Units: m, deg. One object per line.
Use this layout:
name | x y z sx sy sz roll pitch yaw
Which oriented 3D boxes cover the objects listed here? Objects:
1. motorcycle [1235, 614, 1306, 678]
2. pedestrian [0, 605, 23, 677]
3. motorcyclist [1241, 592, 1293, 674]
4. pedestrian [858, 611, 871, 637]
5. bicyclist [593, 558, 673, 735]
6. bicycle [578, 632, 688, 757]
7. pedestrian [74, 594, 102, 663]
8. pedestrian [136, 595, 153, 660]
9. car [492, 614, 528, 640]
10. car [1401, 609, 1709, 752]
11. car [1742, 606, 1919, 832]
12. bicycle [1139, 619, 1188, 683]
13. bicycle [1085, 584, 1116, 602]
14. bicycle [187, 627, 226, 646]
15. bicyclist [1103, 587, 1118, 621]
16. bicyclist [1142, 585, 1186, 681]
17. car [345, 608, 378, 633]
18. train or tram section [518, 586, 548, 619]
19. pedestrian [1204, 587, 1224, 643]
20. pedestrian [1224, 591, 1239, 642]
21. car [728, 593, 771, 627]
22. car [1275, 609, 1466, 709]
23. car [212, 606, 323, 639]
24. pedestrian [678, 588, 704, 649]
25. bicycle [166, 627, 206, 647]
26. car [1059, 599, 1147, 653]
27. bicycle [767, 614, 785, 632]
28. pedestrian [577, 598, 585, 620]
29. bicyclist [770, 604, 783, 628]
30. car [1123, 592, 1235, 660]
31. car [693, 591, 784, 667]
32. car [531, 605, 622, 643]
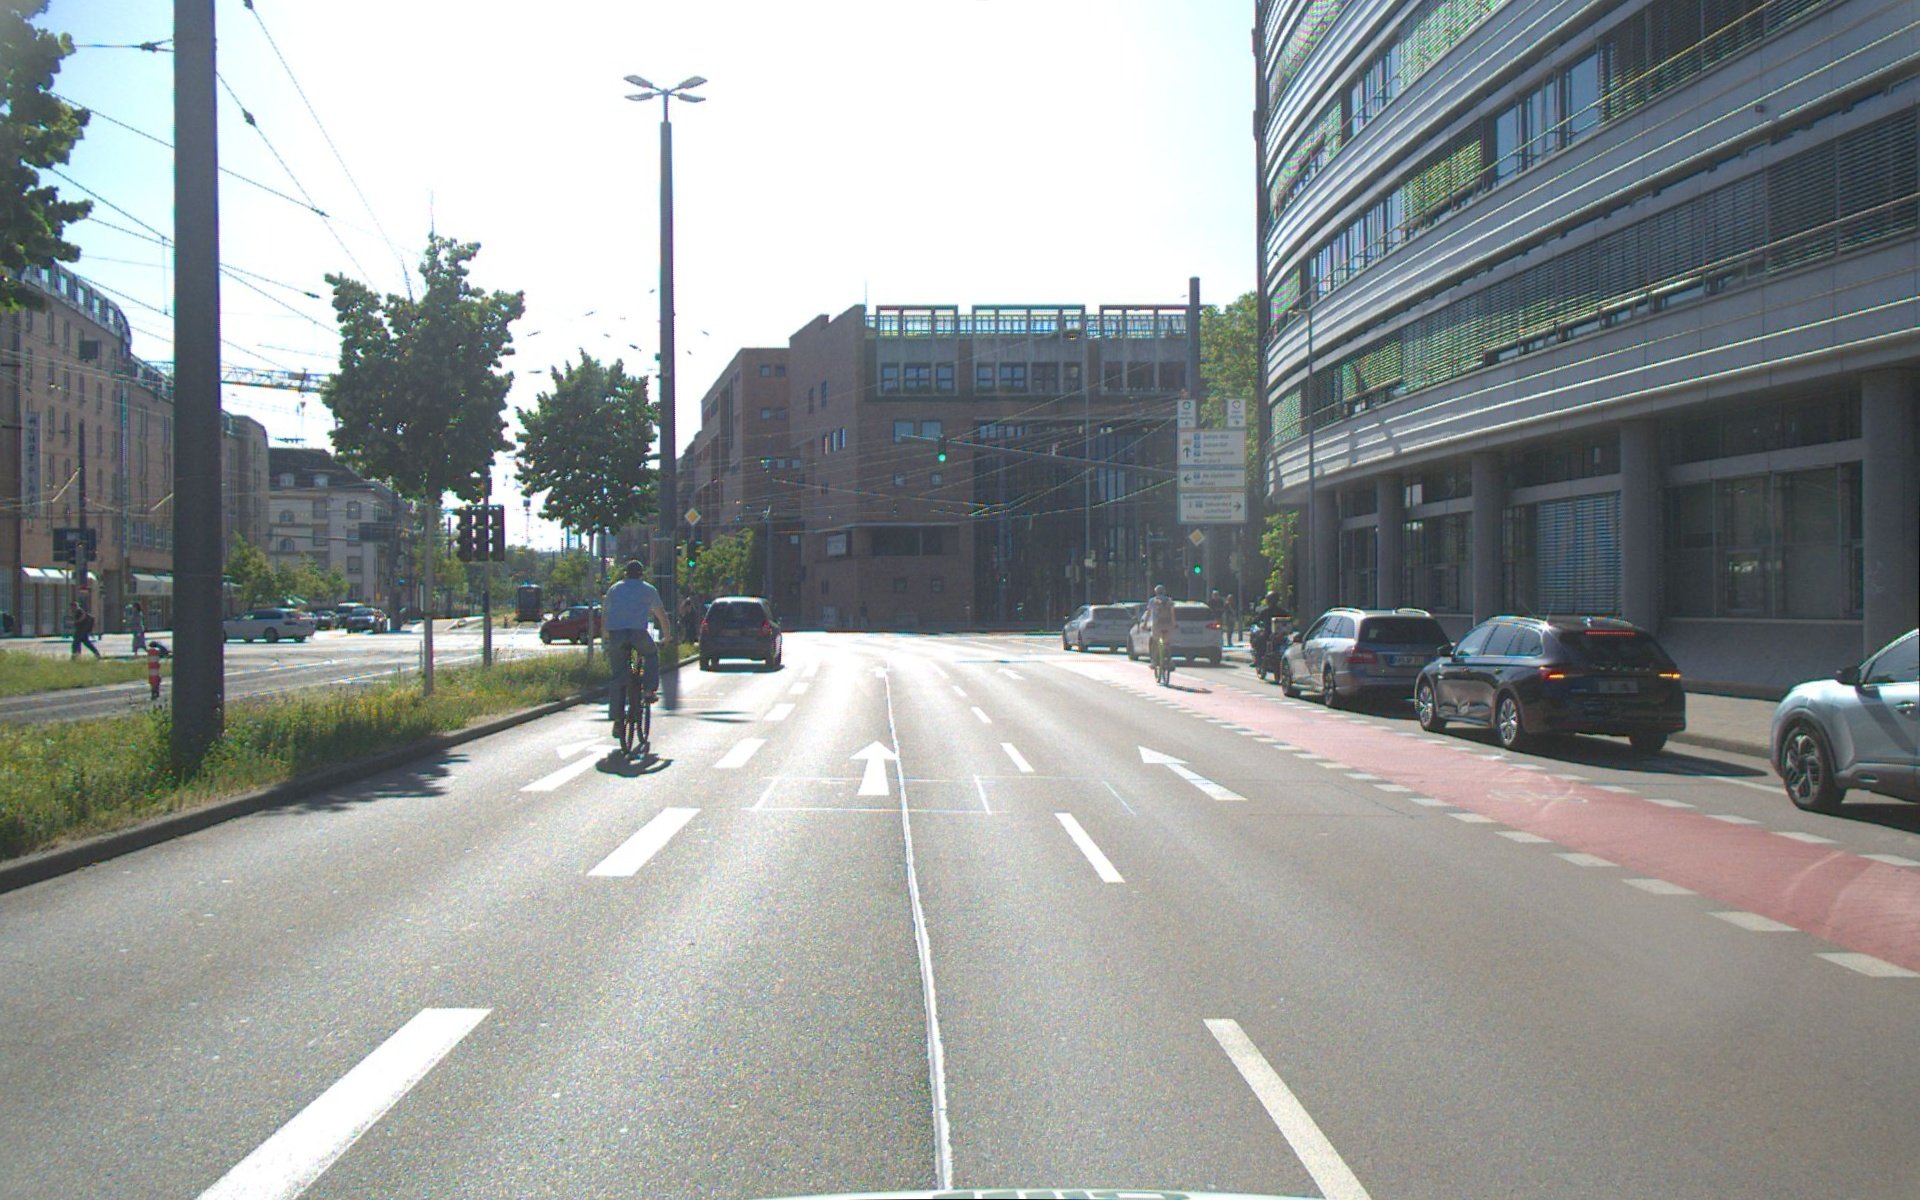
motorcycle | 6.128 0.890 32.778 0.812 1.222 2.388 1 -1 -4
pedestrian | -25.084 1.075 43.723 0.457 1.863 0.452 0 0 -41
motorcyclist | 6.082 0.651 32.809 0.812 1.588 0.941 1 -1 -4
pedestrian | -5.992 1.522 103.588 0.608 1.590 0.982 -1 -1 -18
bicyclist | -3.253 0.452 16.513 0.605 1.699 1.019 1 0 -3
bicycle | -3.271 0.908 16.761 0.673 1.088 2.696 1 0 -2
pedestrian | -23.945 0.783 45.413 0.577 1.863 0.490 0 0 -41
pedestrian | -23.522 0.802 47.709 0.382 1.863 0.458 0 0 -35
car | -31.639 1.867 116.141 2.227 1.757 3.923 -1 0 -19
car | 6.777 0.841 19.428 1.687 1.447 4.633 0 0 -4
car | 7.477 0.829 11.667 1.687 1.551 4.396 0 0 -3
bicycle | 3.891 0.966 31.750 0.636 1.129 1.757 -1 1 -3
bicycle | 8.022 -0.395 94.619 1.646 1.012 0.668 -1 0 -24
bicycle | -54.585 2.643 119.870 2.436 1.333 0.732 -1 0 -6
bicyclist | 8.616 0.231 94.780 0.597 1.917 0.646 -1 -1 -22
bicyclist | 3.892 0.608 31.582 0.636 1.783 1.045 -1 1 -3
car | -38.531 1.307 106.549 1.583 1.422 3.903 -4 2 -15
train or tram section | -41.842 0.229 162.244 2.286 3.056 13.118 -1 0 -12
pedestrian | 8.492 0.507 55.292 0.624 1.829 0.609 -2 1 9
pedestrian | 9.070 0.550 55.229 0.418 1.674 0.562 -2 1 10
car | -11.209 0.519 87.880 1.752 1.732 4.122 1 0 -15
car | 6.427 0.872 26.424 1.687 1.420 4.785 0 0 -2
car | -30.668 1.003 73.304 4.307 1.405 2.067 -1 0 21
pedestrian | -7.973 0.547 48.984 0.659 1.783 0.766 -1 0 -16
bicycle | -55.249 2.648 118.065 2.436 1.333 0.732 -1 0 -6
car | 4.481 0.786 52.517 1.870 1.568 4.130 1 0 -8
bicycle | -10.498 1.281 94.258 0.593 1.002 2.303 0 -1 -17
pedestrian | -29.254 0.695 127.557 0.530 1.684 0.703 -1 -1 -18
bicyclist | -10.457 0.922 94.119 0.583 1.359 0.929 0 -1 -17
car | 5.558 0.636 42.464 1.869 1.611 4.132 1 0 -6
car | -4.881 0.621 36.895 1.692 1.591 3.675 -1 0 -3
car | -15.564 0.972 67.120 3.511 1.474 1.653 -1 0 35
